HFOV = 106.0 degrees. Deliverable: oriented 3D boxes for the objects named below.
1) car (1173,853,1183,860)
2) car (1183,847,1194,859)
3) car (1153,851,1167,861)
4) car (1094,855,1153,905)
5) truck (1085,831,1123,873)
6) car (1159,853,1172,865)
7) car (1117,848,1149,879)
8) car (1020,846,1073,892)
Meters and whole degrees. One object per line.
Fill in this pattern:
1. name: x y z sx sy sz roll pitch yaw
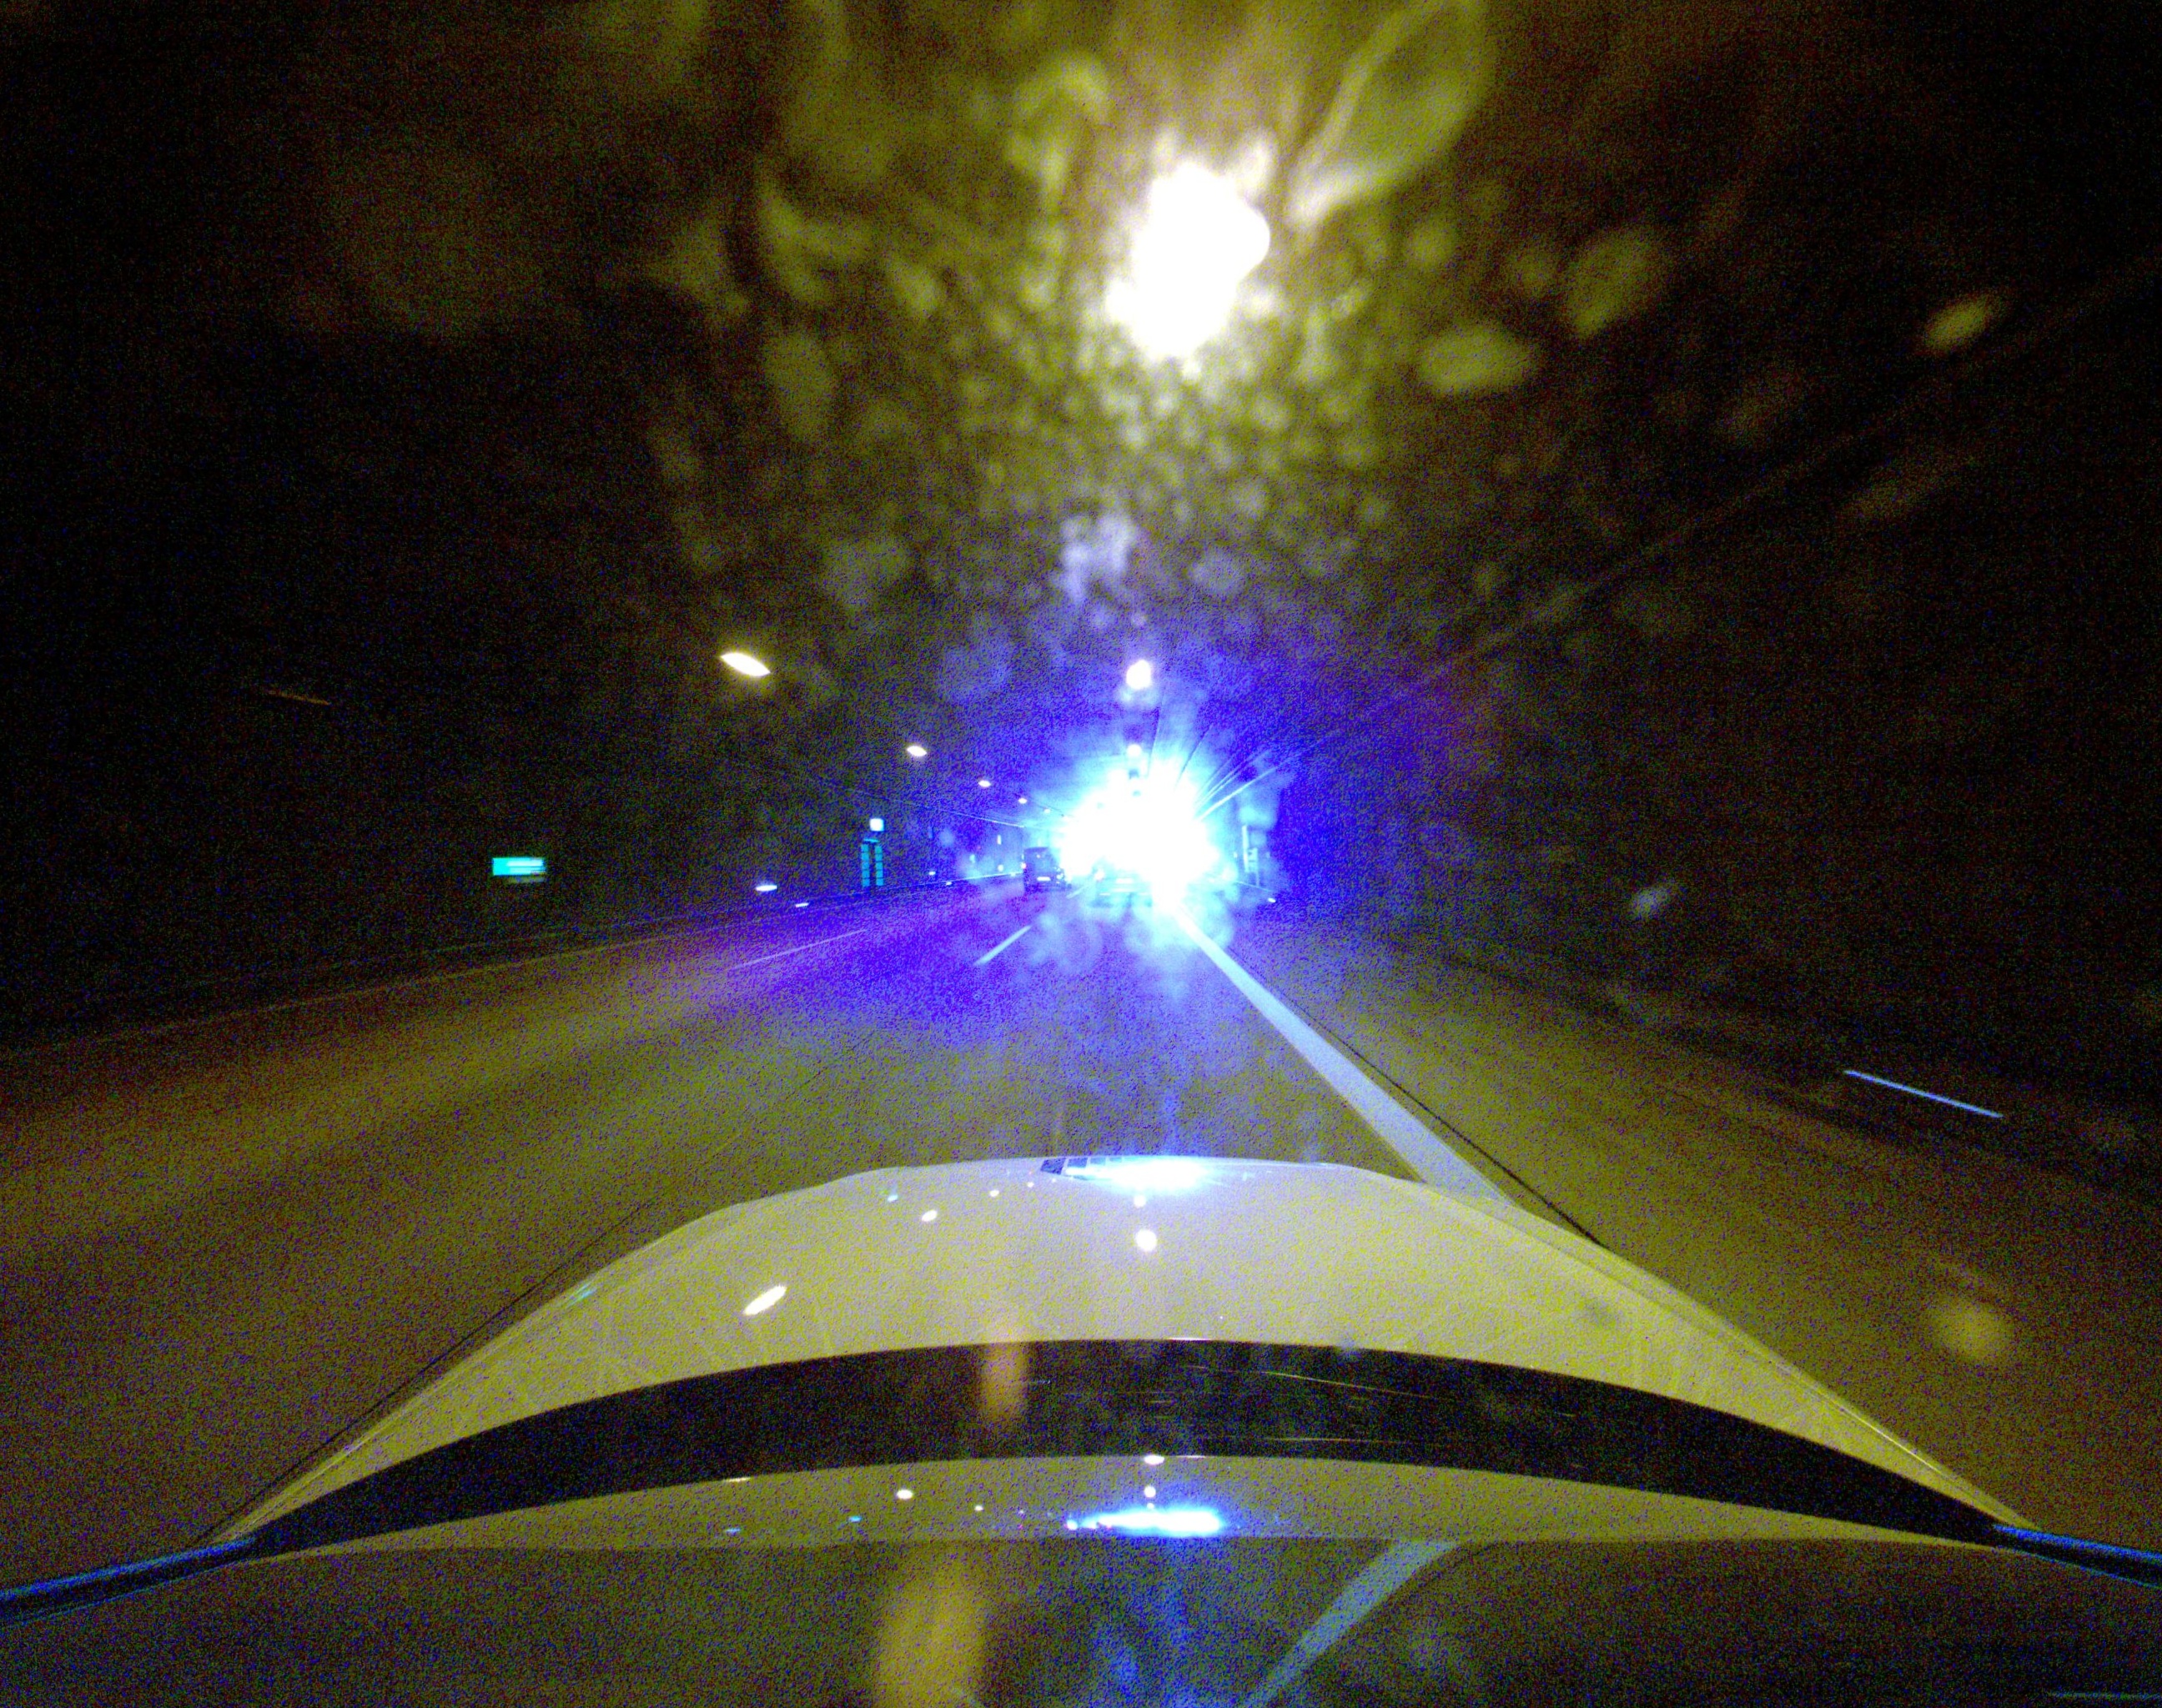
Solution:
1. car: 24.363 0.700 203.922 1.980 1.632 4.012 -1 -2 12
2. car: 20.219 -0.228 152.809 1.982 2.014 4.008 -1 -3 8
3. car: 14.835 0.397 153.019 1.980 1.632 4.013 -1 -2 13
4. car: 1.420 0.795 26.483 1.734 1.464 3.875 -1 0 4
5. truck: 2.267 -0.170 77.478 3.025 3.673 7.403 -1 0 5
6. car: 12.759 0.812 122.993 1.920 1.643 4.007 -1 -3 7
7. car: 3.361 0.565 51.788 1.848 1.854 4.007 -1 0 6
8. car: -1.508 0.635 36.957 1.901 1.944 3.875 -1 0 4
